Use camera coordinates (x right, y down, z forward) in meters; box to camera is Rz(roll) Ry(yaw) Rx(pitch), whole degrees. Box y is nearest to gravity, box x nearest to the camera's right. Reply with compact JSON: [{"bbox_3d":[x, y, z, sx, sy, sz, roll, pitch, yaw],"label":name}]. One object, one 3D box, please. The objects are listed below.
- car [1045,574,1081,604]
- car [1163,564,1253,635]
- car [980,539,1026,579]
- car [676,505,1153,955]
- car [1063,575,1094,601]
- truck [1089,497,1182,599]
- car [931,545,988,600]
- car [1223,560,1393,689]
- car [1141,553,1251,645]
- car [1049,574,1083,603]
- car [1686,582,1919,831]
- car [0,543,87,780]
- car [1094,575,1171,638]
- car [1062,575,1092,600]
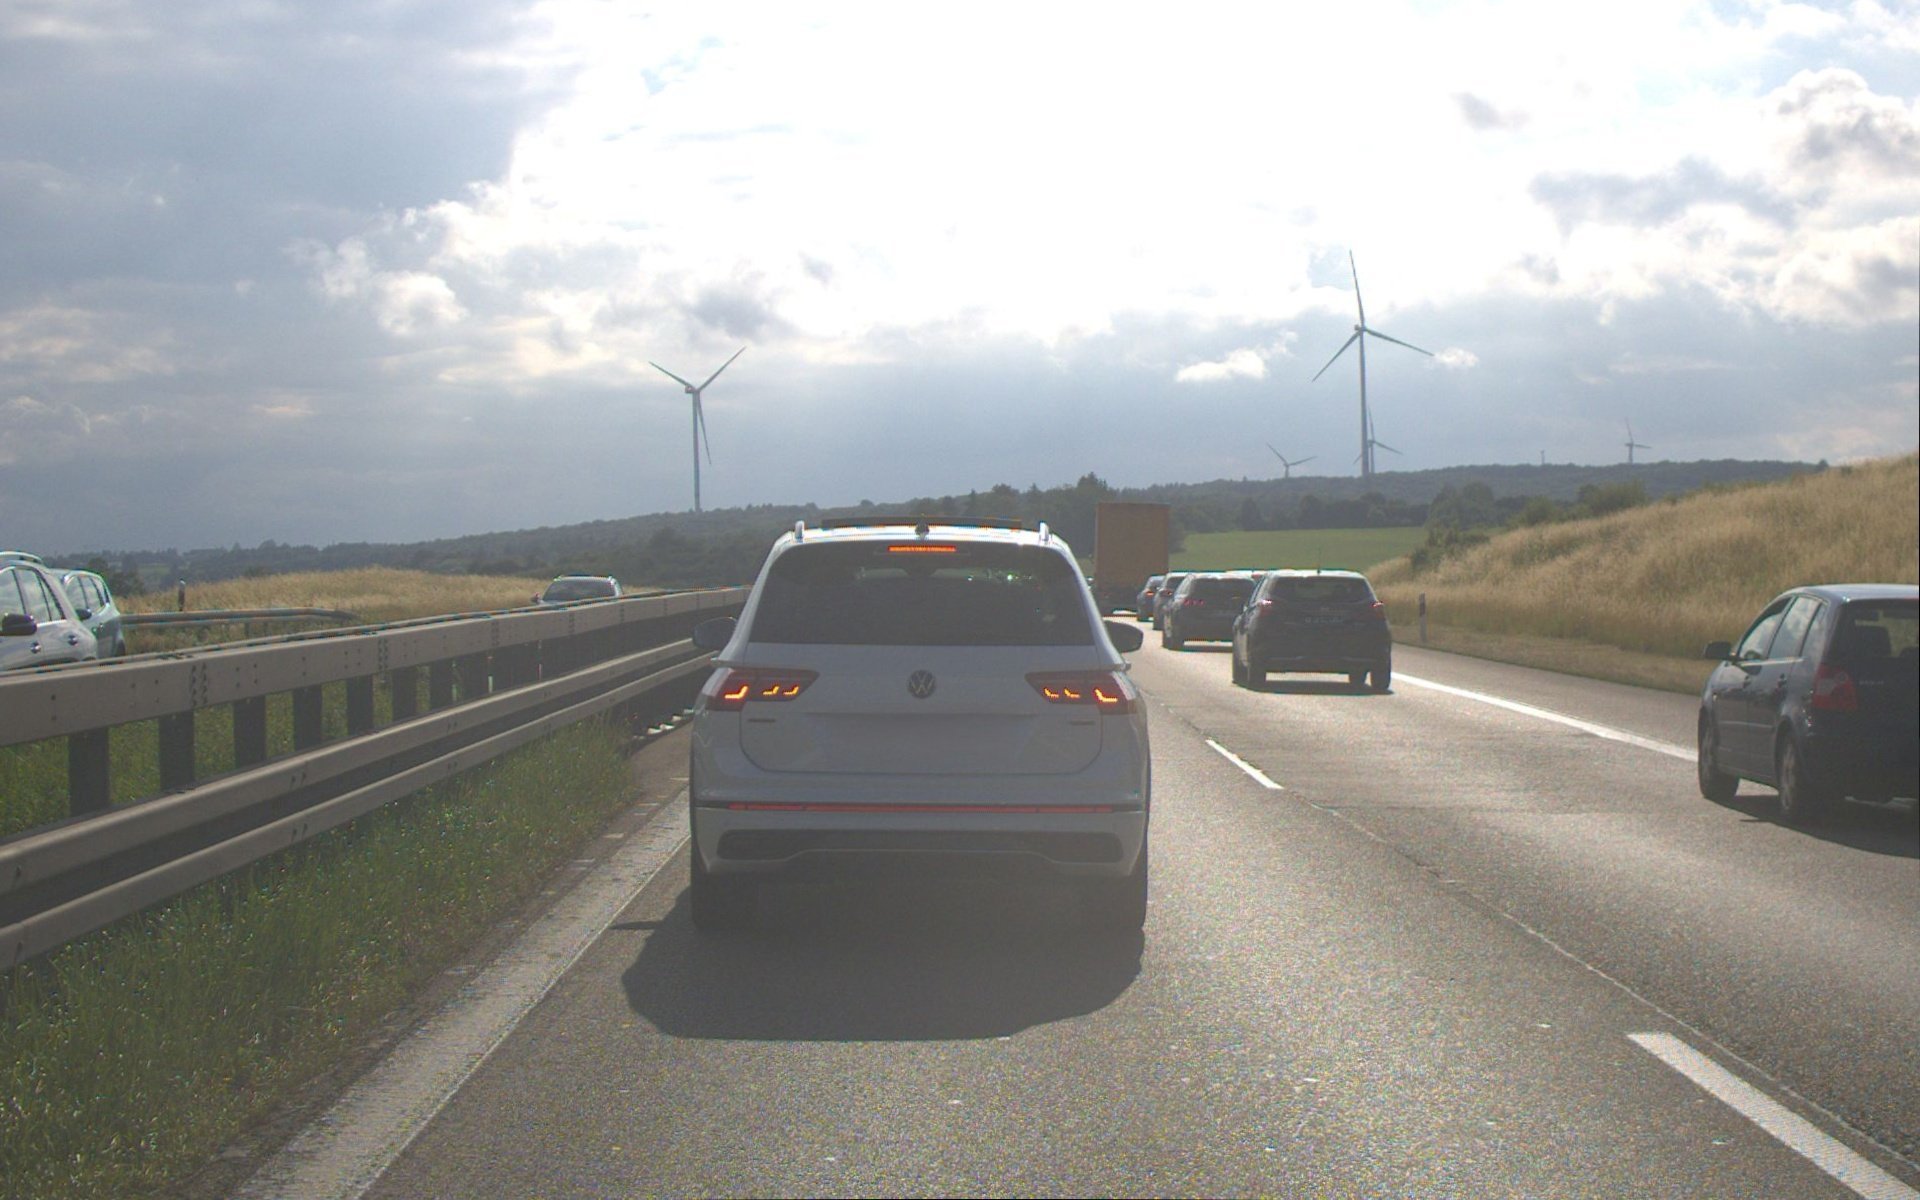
[{"bbox_3d":[5.272,-0.572,175.954,1.704,1.540,4.000,0,0,0],"label":"car"},{"bbox_3d":[5.500,-0.019,76.608,1.704,1.540,4.000,0,0,0],"label":"car"},{"bbox_3d":[1.677,-1.605,135.315,1.704,1.540,4.000,0,0,0],"label":"car"},{"bbox_3d":[-0.182,0.474,14.848,1.770,1.670,4.000,0,0,0],"label":"car"},{"bbox_3d":[7.124,-0.740,206.751,1.704,1.540,4.000,0,0,0],"label":"car"},{"bbox_3d":[6.437,-1.947,127.477,3.184,3.581,11.130,0,1,2],"label":"truck"},{"bbox_3d":[-0.028,-0.840,105.279,1.704,1.644,4.000,0,0,0],"label":"car"},{"bbox_3d":[4.331,0.279,43.288,1.704,1.540,4.000,0,0,0],"label":"car"},{"bbox_3d":[4.315,-0.031,63.317,1.704,1.644,4.000,0,0,0],"label":"car"},{"bbox_3d":[5.746,-0.636,187.357,1.704,1.540,4.000,0,0,0],"label":"car"},{"bbox_3d":[5.644,0.599,21.378,1.606,1.415,3.672,0,0,2],"label":"car"},{"bbox_3d":[-8.052,0.449,25.982,1.823,1.764,4.364,0,0,-1],"label":"car"},{"bbox_3d":[4.330,0.153,86.841,1.704,1.540,4.000,0,0,0],"label":"car"},{"bbox_3d":[7.243,-0.776,212.979,1.704,1.540,4.000,0,0,0],"label":"car"}]
